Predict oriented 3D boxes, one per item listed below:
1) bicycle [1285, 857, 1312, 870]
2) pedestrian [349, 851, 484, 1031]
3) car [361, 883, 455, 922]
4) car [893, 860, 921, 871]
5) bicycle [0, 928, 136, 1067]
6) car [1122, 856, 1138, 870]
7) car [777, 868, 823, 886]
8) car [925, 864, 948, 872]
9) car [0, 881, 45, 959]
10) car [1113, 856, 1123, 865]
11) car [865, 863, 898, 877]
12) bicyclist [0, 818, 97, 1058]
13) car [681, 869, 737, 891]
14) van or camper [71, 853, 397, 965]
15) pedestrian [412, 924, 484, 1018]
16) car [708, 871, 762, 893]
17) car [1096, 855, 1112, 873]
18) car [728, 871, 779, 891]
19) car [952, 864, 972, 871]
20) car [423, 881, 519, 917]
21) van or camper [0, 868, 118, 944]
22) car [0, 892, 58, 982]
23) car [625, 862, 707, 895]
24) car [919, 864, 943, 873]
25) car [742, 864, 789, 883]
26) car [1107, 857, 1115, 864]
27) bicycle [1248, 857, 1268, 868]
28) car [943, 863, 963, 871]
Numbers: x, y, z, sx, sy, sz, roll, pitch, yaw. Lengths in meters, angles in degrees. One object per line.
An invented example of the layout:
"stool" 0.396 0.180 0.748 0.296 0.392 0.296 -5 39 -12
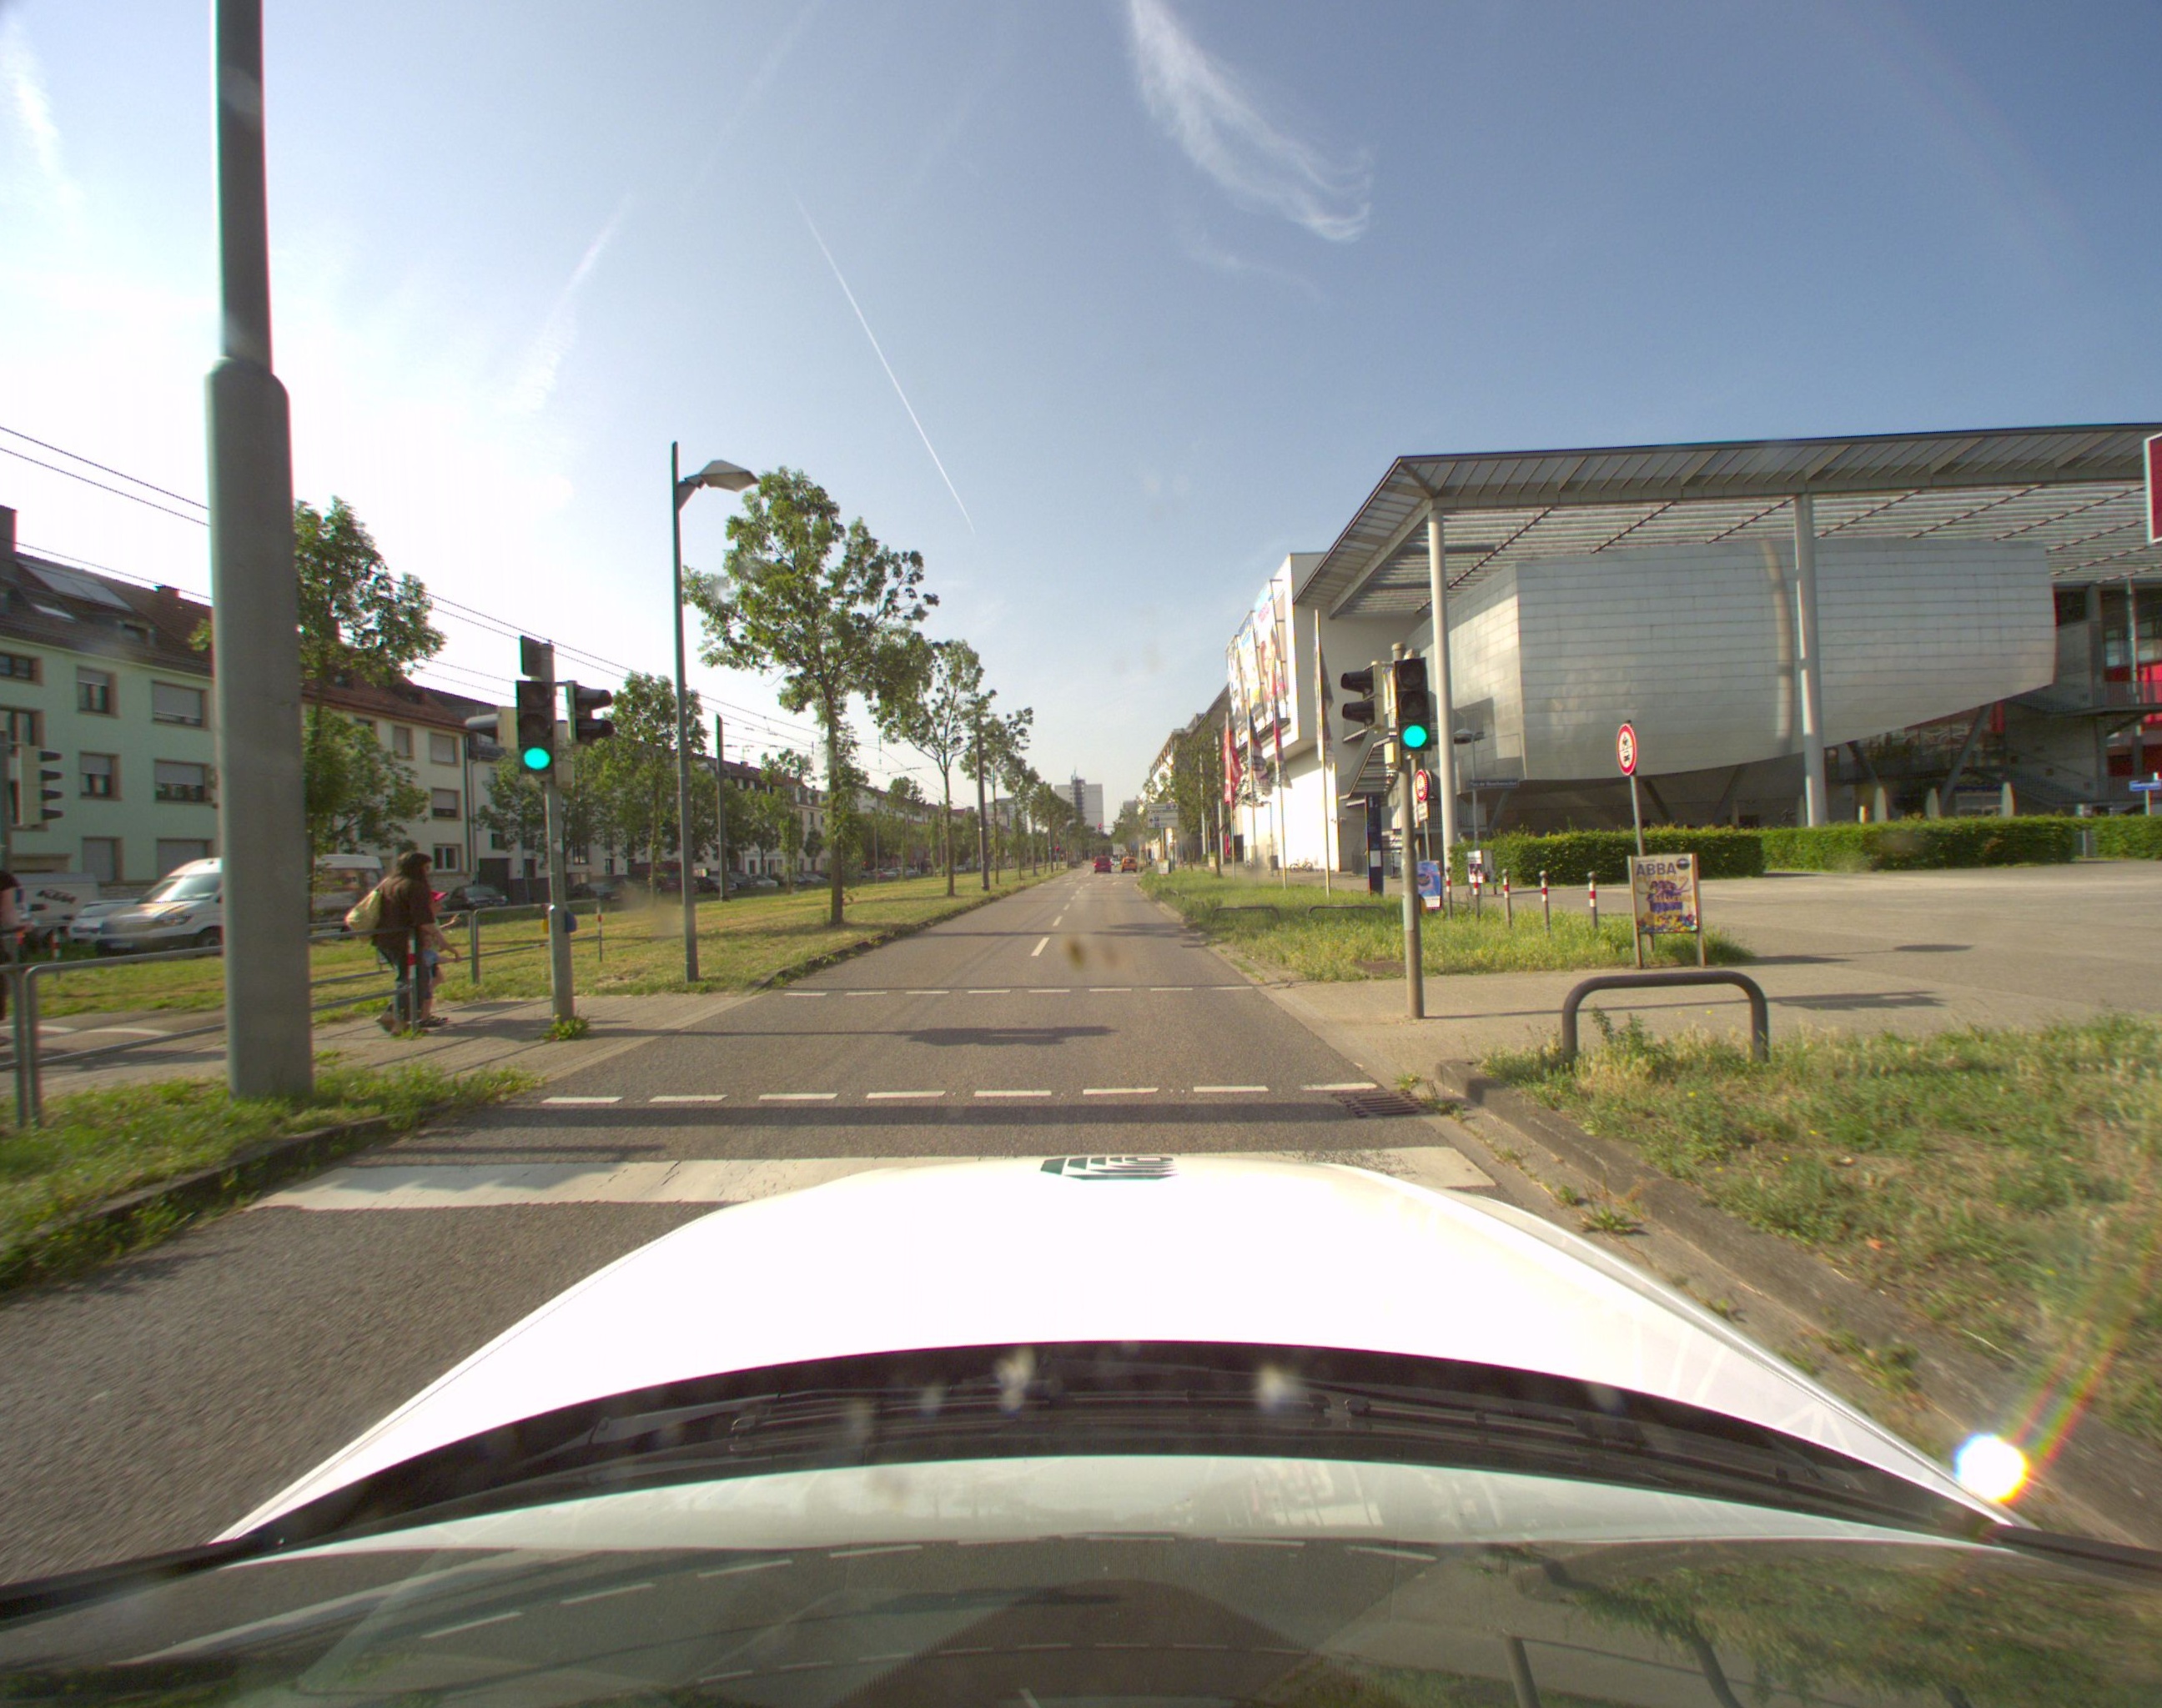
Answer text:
"bicycle" 14.623 0.626 54.763 1.616 0.888 0.551 0 -1 -1
"pedestrian" -6.079 0.767 7.484 0.622 1.572 0.711 0 -1 2
"car" -27.084 1.901 32.735 3.948 1.412 1.730 0 -1 32
"car" -25.899 1.662 121.353 3.950 1.596 1.665 0 -1 27
"bicycle" -9.350 1.207 6.812 2.060 1.042 0.668 -2 -1 -1
"car" 5.612 1.022 93.909 1.741 1.650 3.217 0 -1 2
"car" -25.647 2.041 74.258 3.950 1.596 1.665 0 -1 27
"car" -26.537 2.543 149.217 3.950 1.596 1.665 0 -1 27
"car" -27.358 1.577 20.003 5.258 1.738 2.013 0 -1 35
"car" 6.733 1.166 148.314 1.742 1.650 3.216 0 -1 1
"car" -26.524 2.057 108.114 3.950 1.808 1.815 0 -1 27
"bicyclist" -9.296 0.701 6.846 1.143 1.934 0.686 -2 -1 -1
"car" -26.763 1.858 58.522 3.950 1.530 1.472 0 -1 27
"van or camper" -21.700 1.283 21.453 2.196 2.531 6.030 0 -1 1
"pedestrian" -6.273 1.148 8.081 0.339 0.875 0.461 0 -1 2
"car" -26.043 2.088 61.256 3.950 1.530 1.472 0 -1 27
"car" 2.571 1.088 90.827 1.741 2.014 3.217 0 -1 2
"car" -25.877 2.118 64.389 3.950 1.530 1.472 0 -1 27
"car" -25.422 2.908 174.237 3.950 1.596 1.665 0 -1 27
"car" -26.392 1.924 35.234 3.950 1.412 1.729 0 -1 27
"van or camper" -34.273 1.619 25.104 1.985 2.328 5.832 0 -1 3
"car" -22.065 1.617 14.550 1.955 1.694 4.303 0 -1 5
"car" -26.455 1.539 51.873 5.169 2.014 1.888 0 -1 27
"car" -25.901 2.462 140.836 3.950 1.596 1.665 0 -1 27
"car" -26.932 1.650 69.503 3.950 1.530 1.472 0 -1 27
"car" 6.426 1.412 174.106 1.742 1.650 3.216 0 -1 1
"bicycle" 15.133 0.725 69.552 1.615 0.888 0.551 0 -1 3
"car" -25.945 2.693 165.064 3.950 1.596 1.665 0 -1 27
